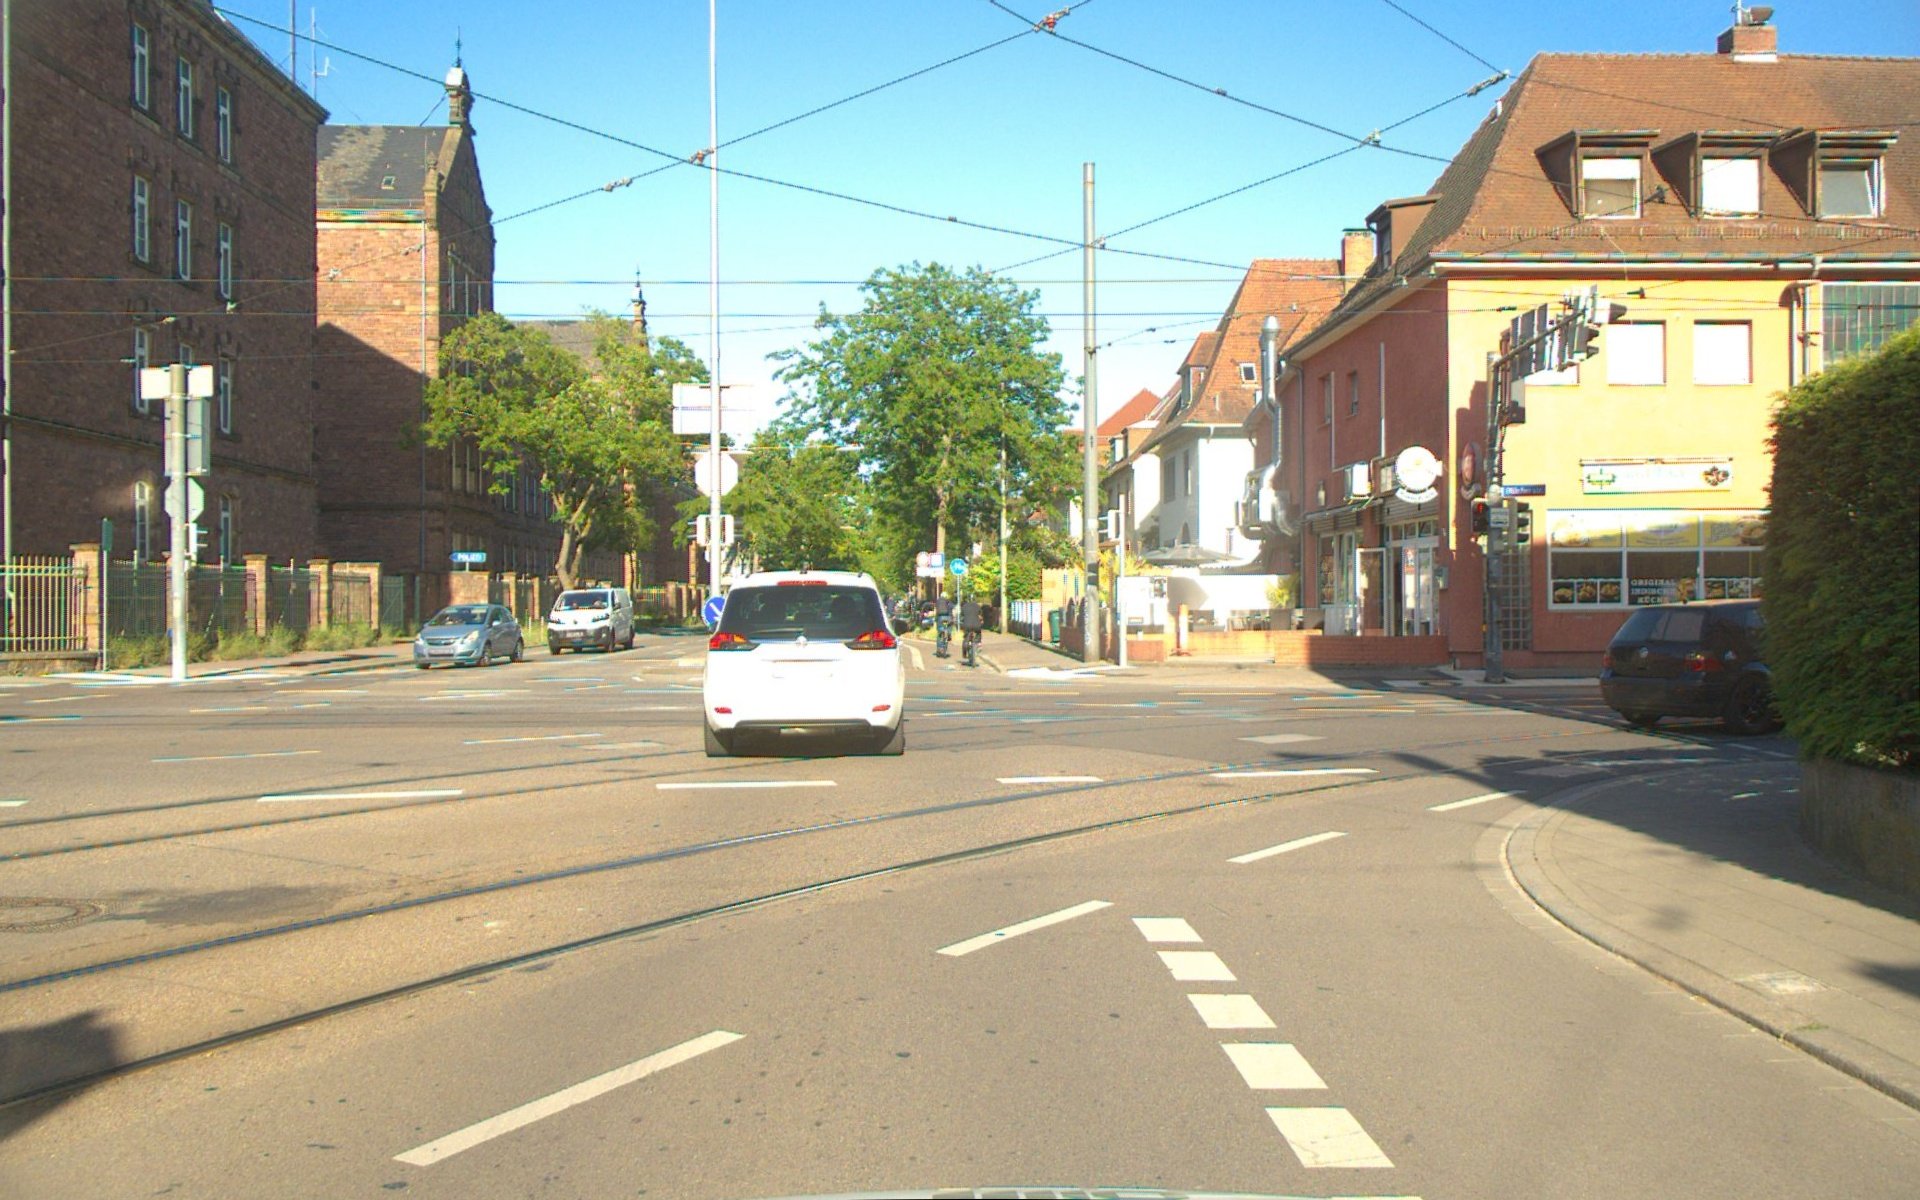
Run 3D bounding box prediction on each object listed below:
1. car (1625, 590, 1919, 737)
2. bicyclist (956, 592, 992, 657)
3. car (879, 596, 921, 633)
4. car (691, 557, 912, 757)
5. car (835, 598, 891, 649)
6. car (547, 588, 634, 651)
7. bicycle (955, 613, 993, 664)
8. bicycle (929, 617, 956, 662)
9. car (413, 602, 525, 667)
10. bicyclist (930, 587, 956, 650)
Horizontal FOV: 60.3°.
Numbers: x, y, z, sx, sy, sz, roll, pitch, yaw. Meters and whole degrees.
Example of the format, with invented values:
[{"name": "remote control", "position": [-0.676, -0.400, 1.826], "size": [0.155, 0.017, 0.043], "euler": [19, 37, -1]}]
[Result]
[{"name": "car", "position": [8.928, 0.621, 18.321], "size": [1.554, 1.445, 3.900], "euler": [0, 0, 0]}, {"name": "bicyclist", "position": [0.338, 0.581, 39.444], "size": [0.804, 1.528, 0.934], "euler": [1, -1, -2]}, {"name": "car", "position": [-2.807, 0.676, 78.201], "size": [1.739, 1.660, 3.881], "euler": [1, -1, 1]}, {"name": "car", "position": [-1.393, 0.499, 15.907], "size": [1.797, 1.671, 3.917], "euler": [1, -1, -1]}, {"name": "car", "position": [-3.227, 0.776, 55.673], "size": [1.740, 1.660, 3.879], "euler": [1, -1, -2]}, {"name": "car", "position": [-11.069, 0.579, 49.745], "size": [1.854, 1.815, 3.878], "euler": [1, -1, -2]}, {"name": "bicycle", "position": [0.326, 0.903, 39.566], "size": [0.812, 1.175, 2.093], "euler": [1, -1, -2]}, {"name": "bicycle", "position": [-0.466, 1.068, 44.795], "size": [0.671, 1.177, 1.619], "euler": [1, -1, 1]}, {"name": "car", "position": [-11.659, 0.810, 39.504], "size": [1.548, 1.466, 3.584], "euler": [1, -1, 1]}, {"name": "bicyclist", "position": [-0.462, 0.495, 44.825], "size": [0.671, 1.663, 1.015], "euler": [1, -1, 1]}]
